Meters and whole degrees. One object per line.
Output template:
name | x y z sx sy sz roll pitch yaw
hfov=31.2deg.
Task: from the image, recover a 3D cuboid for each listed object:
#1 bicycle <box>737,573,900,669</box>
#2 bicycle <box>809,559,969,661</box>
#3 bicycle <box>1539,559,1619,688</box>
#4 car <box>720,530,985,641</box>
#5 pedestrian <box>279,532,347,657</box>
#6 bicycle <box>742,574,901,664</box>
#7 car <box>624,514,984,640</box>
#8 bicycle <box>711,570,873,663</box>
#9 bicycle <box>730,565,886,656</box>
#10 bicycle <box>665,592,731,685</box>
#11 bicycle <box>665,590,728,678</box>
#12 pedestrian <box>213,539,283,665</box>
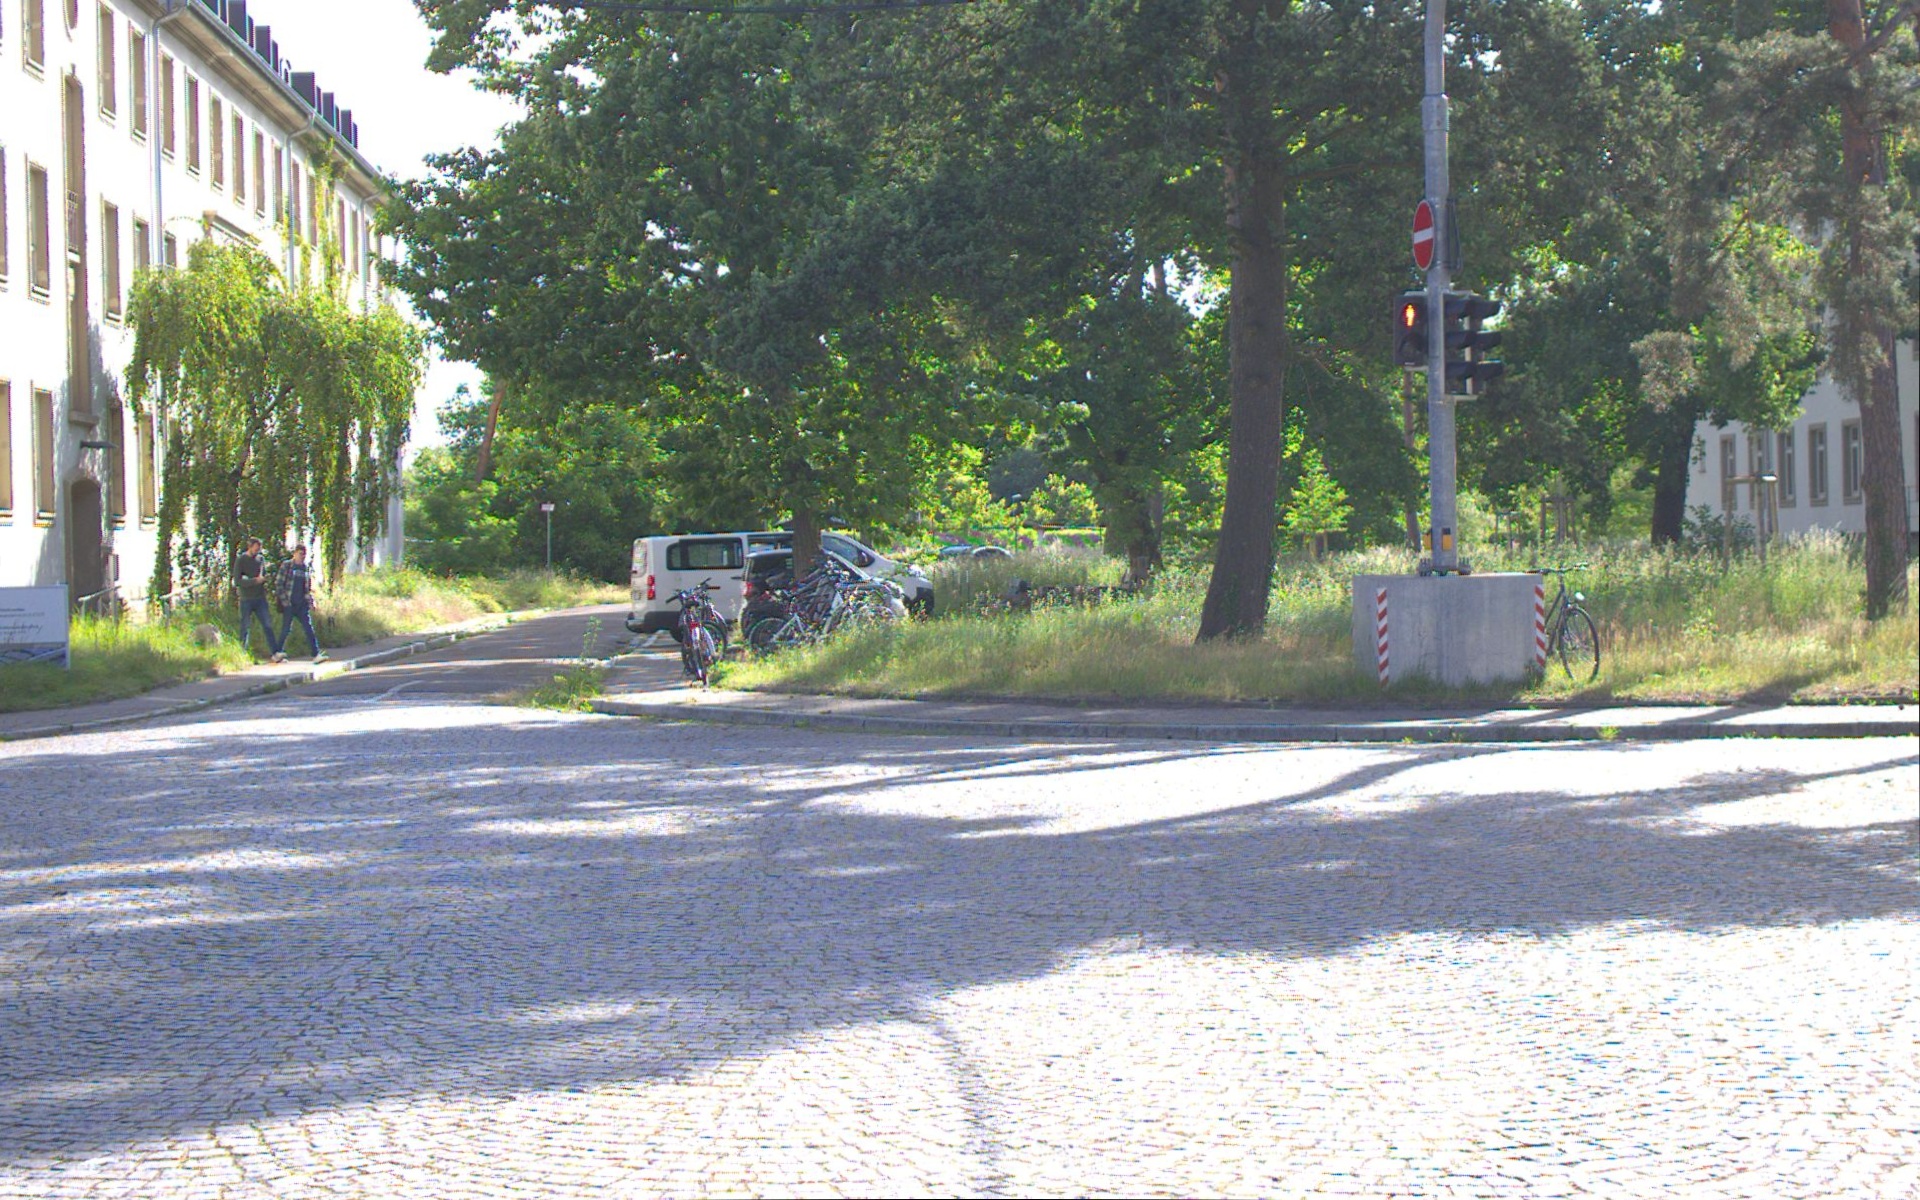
bicycle | -1.749 0.255 42.226 1.940 1.125 0.750 -1 1 -6
bicycle | -0.892 0.117 42.965 1.940 1.231 0.485 -1 1 -6
bicycle | 5.319 0.194 29.597 0.466 1.076 1.174 -1 0 0
car | -1.742 -0.249 55.179 3.986 1.678 1.848 -1 1 -10
pedestrian | -9.528 -0.086 50.665 0.767 1.811 0.682 -1 1 8
bicycle | -1.677 0.223 41.433 1.854 1.027 0.750 -1 1 -6
car | -2.730 -0.409 59.348 5.929 2.007 2.476 -1 1 -10
bicycle | -2.124 0.198 43.427 1.941 1.125 0.648 -2 1 -30
bicycle | -1.970 0.134 44.529 1.940 1.125 0.648 -1 1 -8
bicycle | -2.898 0.412 37.899 0.695 0.968 1.861 -1 1 -5
bicycle | -3.063 0.378 39.827 0.695 0.968 1.861 -1 1 -5
pedestrian | -10.380 0.019 50.135 0.812 1.811 0.555 -1 1 8
